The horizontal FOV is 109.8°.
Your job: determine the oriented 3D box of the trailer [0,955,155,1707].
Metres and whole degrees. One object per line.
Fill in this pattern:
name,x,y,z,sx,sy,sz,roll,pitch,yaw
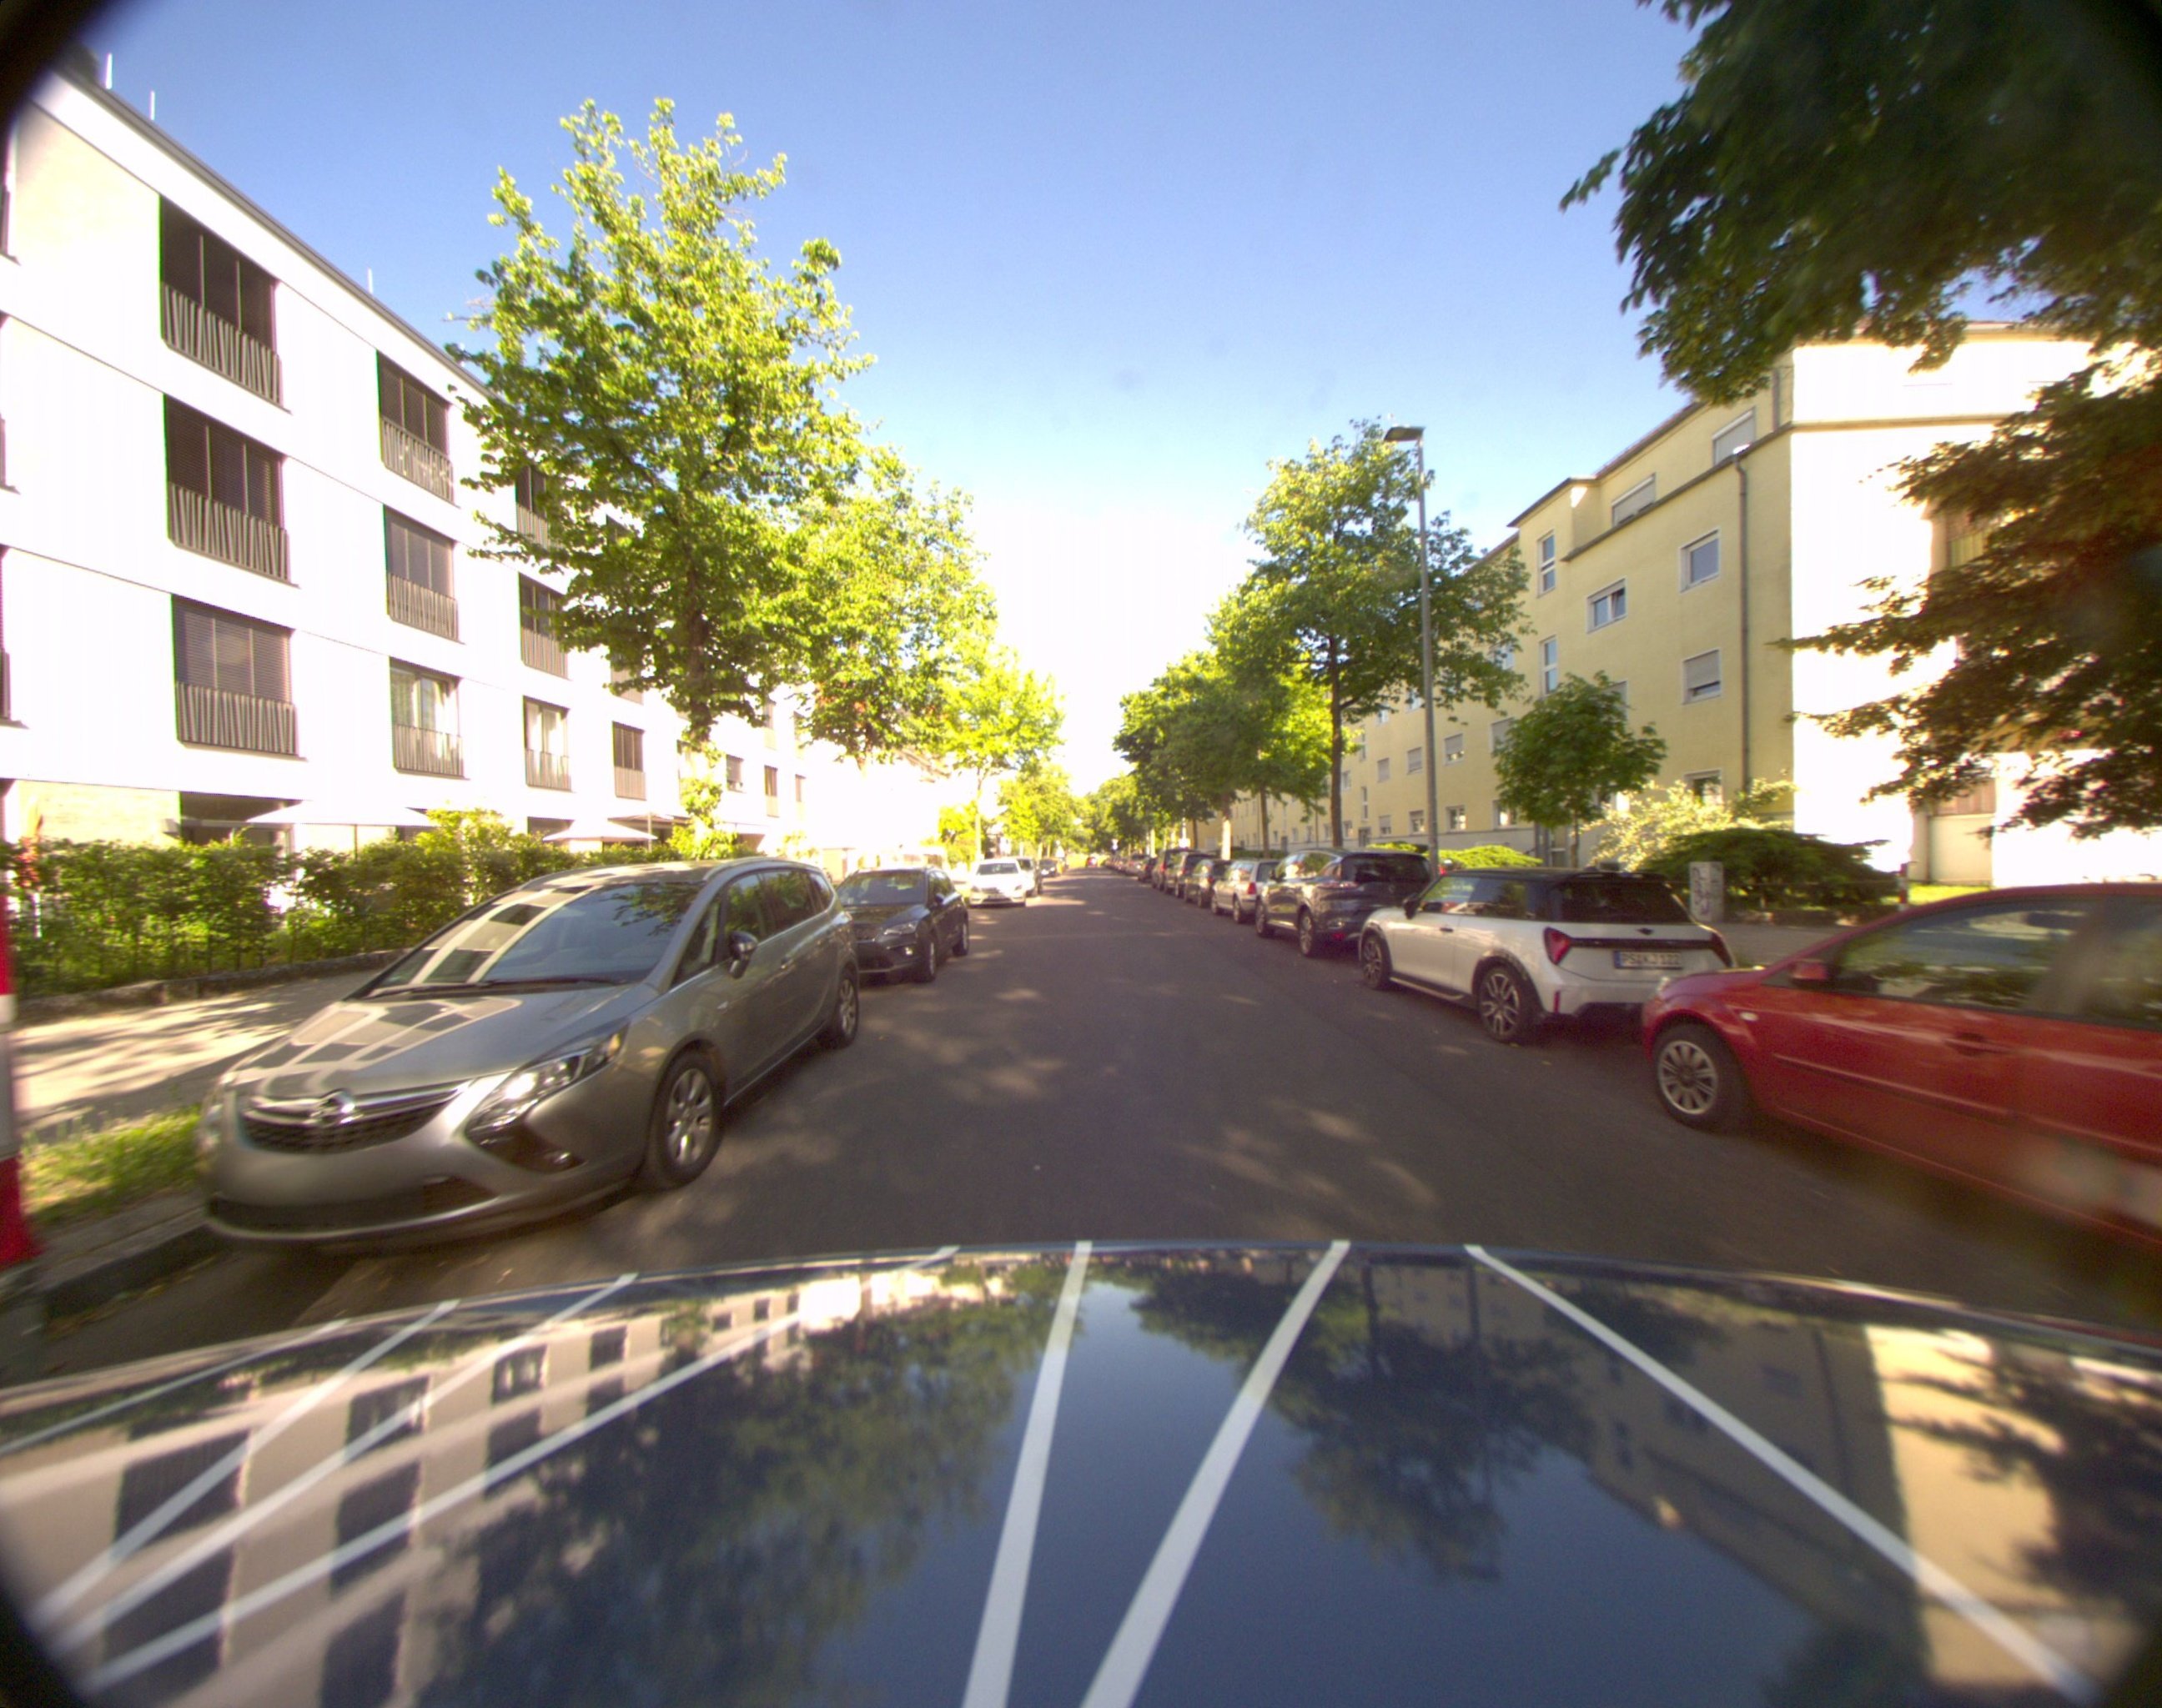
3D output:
trailer,-3.167,1.084,0.284,1.578,1.569,3.192,-4,0,2

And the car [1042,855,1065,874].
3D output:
car,-2.236,0.861,63.189,1.670,1.456,3.536,-1,0,1

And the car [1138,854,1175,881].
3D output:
car,4.401,0.764,44.788,1.780,1.462,4.063,1,0,0

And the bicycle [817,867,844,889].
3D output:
bicycle,-10.872,1.046,33.001,0.564,0.889,1.609,-2,0,1

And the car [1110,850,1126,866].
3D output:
car,4.492,0.484,92.058,1.713,1.752,3.712,-1,1,-1

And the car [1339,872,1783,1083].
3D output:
car,4.119,0.923,7.472,1.658,1.365,4.188,-1,0,-1

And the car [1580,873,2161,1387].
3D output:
car,4.154,0.892,2.983,1.658,1.496,4.068,-1,0,-1

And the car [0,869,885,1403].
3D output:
car,-2.864,1.023,5.037,1.797,1.633,4.818,-4,0,0

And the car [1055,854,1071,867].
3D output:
car,-2.178,0.751,91.819,1.670,1.456,3.536,-1,0,1

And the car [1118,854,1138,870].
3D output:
car,4.299,0.717,70.253,1.606,1.382,3.812,-1,0,0

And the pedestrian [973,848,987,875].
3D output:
pedestrian,-7.555,0.579,56.921,0.907,2.002,1.006,-1,1,1

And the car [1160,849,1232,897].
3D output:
car,4.249,0.655,28.776,1.798,1.676,4.525,-1,0,-3

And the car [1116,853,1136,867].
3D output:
car,4.816,0.633,81.723,1.805,1.470,3.999,-1,0,-3

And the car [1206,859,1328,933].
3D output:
car,4.233,0.882,18.053,1.711,1.472,4.489,-1,0,-1

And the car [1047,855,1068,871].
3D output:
car,-2.086,0.793,68.664,1.670,1.456,3.674,-1,0,1

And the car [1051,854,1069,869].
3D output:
car,-2.117,0.752,78.520,1.670,1.456,3.536,-1,0,1

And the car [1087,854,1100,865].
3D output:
car,1.757,0.758,106.055,1.665,1.456,3.447,-1,0,1

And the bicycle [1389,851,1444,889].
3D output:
bicycle,11.341,0.540,25.700,1.640,1.218,0.517,-2,1,-9

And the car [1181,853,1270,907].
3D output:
car,4.246,0.722,23.074,1.798,1.443,4.489,-1,0,-1

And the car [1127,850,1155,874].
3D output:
car,4.424,0.579,56.565,1.864,1.718,4.000,0,0,1

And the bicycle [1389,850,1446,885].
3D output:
bicycle,12.339,0.482,27.900,1.826,1.218,0.517,-2,1,1

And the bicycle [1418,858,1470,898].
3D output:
bicycle,10.499,0.672,22.052,0.573,1.055,1.933,-2,1,1

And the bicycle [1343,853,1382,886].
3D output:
bicycle,10.600,0.559,28.708,0.596,1.183,2.260,-1,0,-1

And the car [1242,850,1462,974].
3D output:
car,4.181,0.774,12.748,1.846,1.647,5.087,-1,0,0

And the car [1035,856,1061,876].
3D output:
car,-2.510,0.879,58.409,1.670,1.456,3.536,-1,0,1

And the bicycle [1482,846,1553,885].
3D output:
bicycle,14.918,0.387,25.996,1.957,1.218,0.777,-2,1,-3

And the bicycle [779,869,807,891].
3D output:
bicycle,-12.457,1.105,32.940,0.564,0.889,1.609,-2,0,1

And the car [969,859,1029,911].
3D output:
car,-2.661,0.954,25.594,1.786,1.509,4.685,-2,0,-4

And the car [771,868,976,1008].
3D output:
car,-2.767,1.044,11.214,1.722,1.507,4.344,-2,0,1

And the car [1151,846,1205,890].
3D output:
car,4.261,0.570,34.138,1.798,1.839,4.866,-1,0,0

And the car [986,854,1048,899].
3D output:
car,-2.527,0.872,31.371,1.902,1.638,4.862,-2,0,2

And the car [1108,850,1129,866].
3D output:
car,4.274,0.434,87.101,1.891,1.797,3.913,-1,0,-4
